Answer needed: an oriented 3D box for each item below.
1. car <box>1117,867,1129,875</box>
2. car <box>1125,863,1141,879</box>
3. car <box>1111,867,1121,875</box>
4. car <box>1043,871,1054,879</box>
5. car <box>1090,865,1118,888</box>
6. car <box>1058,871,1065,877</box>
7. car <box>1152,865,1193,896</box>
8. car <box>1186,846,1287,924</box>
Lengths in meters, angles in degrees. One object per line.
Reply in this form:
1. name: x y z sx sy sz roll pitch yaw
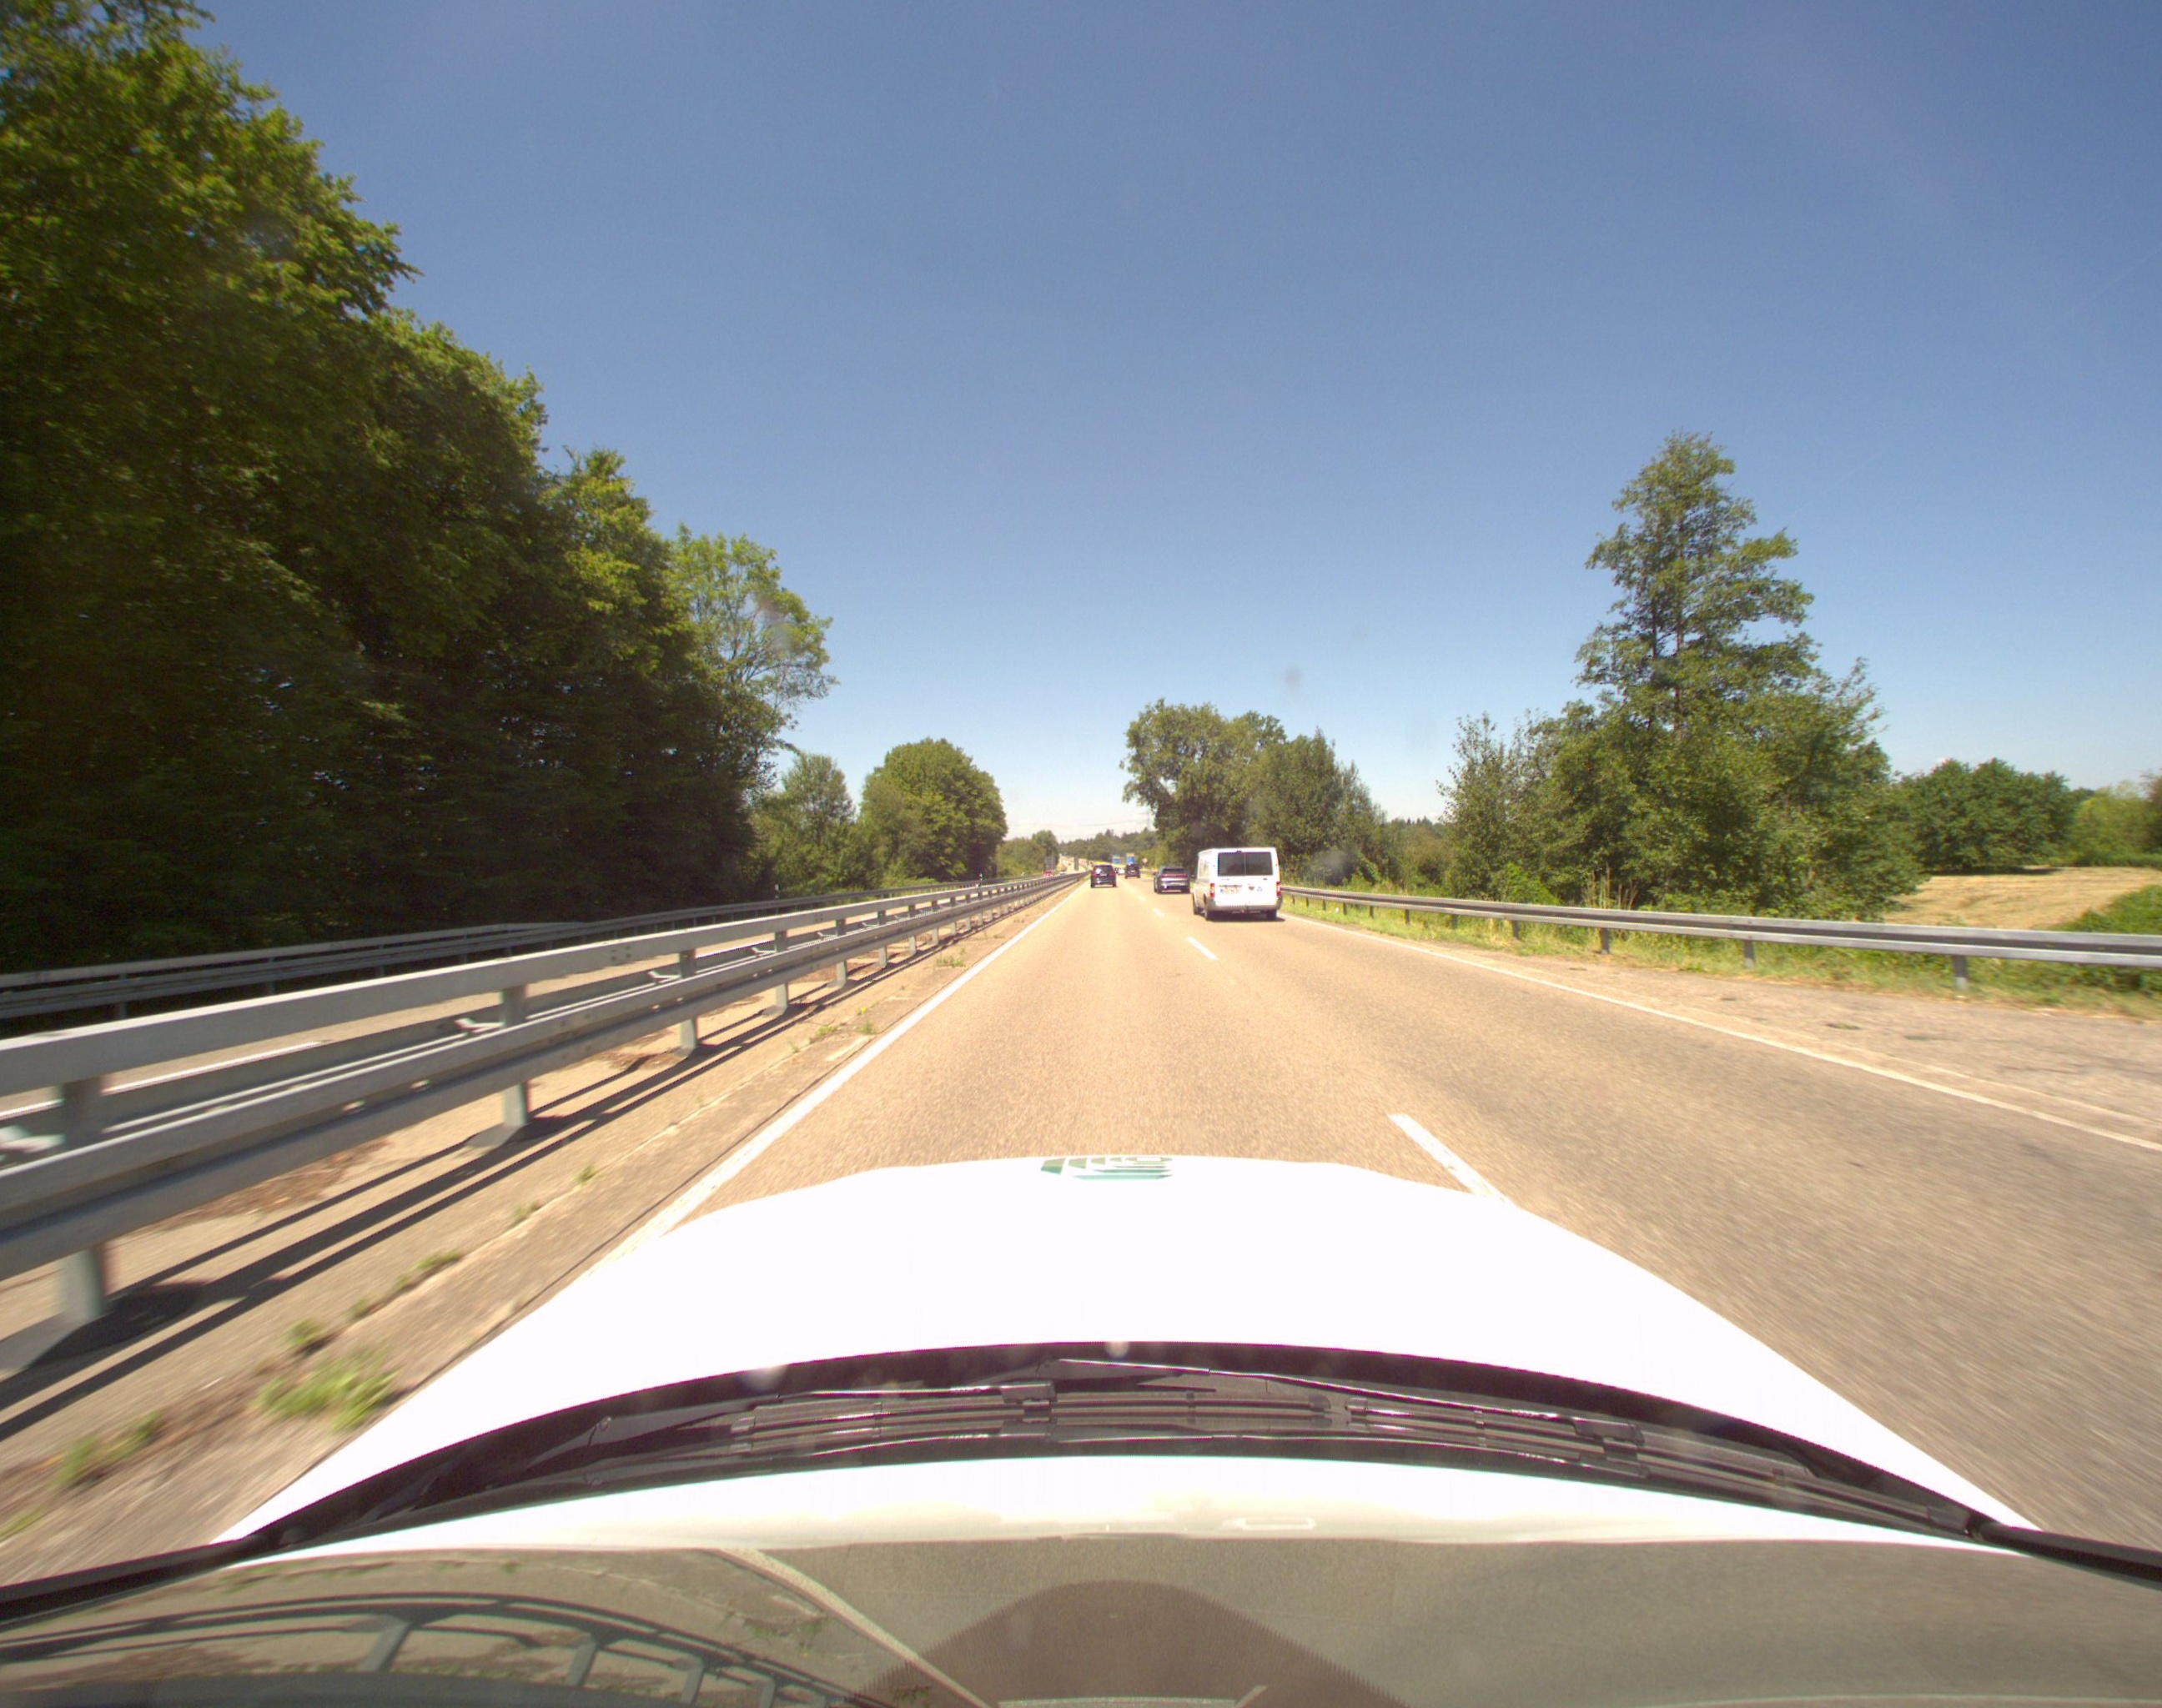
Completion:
1. car: 7.533 3.054 146.423 1.773 1.479 4.313 0 -1 0
2. car: 6.353 2.029 99.677 1.773 1.817 4.214 -3 0 1
3. car: 6.970 3.301 160.835 1.813 1.414 4.000 -3 0 1
4. car: -6.198 3.994 154.602 1.770 1.419 4.575 -3 -1 1
5. car: 1.698 1.709 61.374 1.987 1.655 3.998 0 -1 0
6. car: -5.081 5.118 212.746 1.791 1.468 3.775 -1 -1 2
7. car: 5.054 1.443 45.400 1.779 1.553 4.019 -2 0 0
8. car: 4.386 0.874 23.809 1.999 1.989 5.034 -2 -1 1
